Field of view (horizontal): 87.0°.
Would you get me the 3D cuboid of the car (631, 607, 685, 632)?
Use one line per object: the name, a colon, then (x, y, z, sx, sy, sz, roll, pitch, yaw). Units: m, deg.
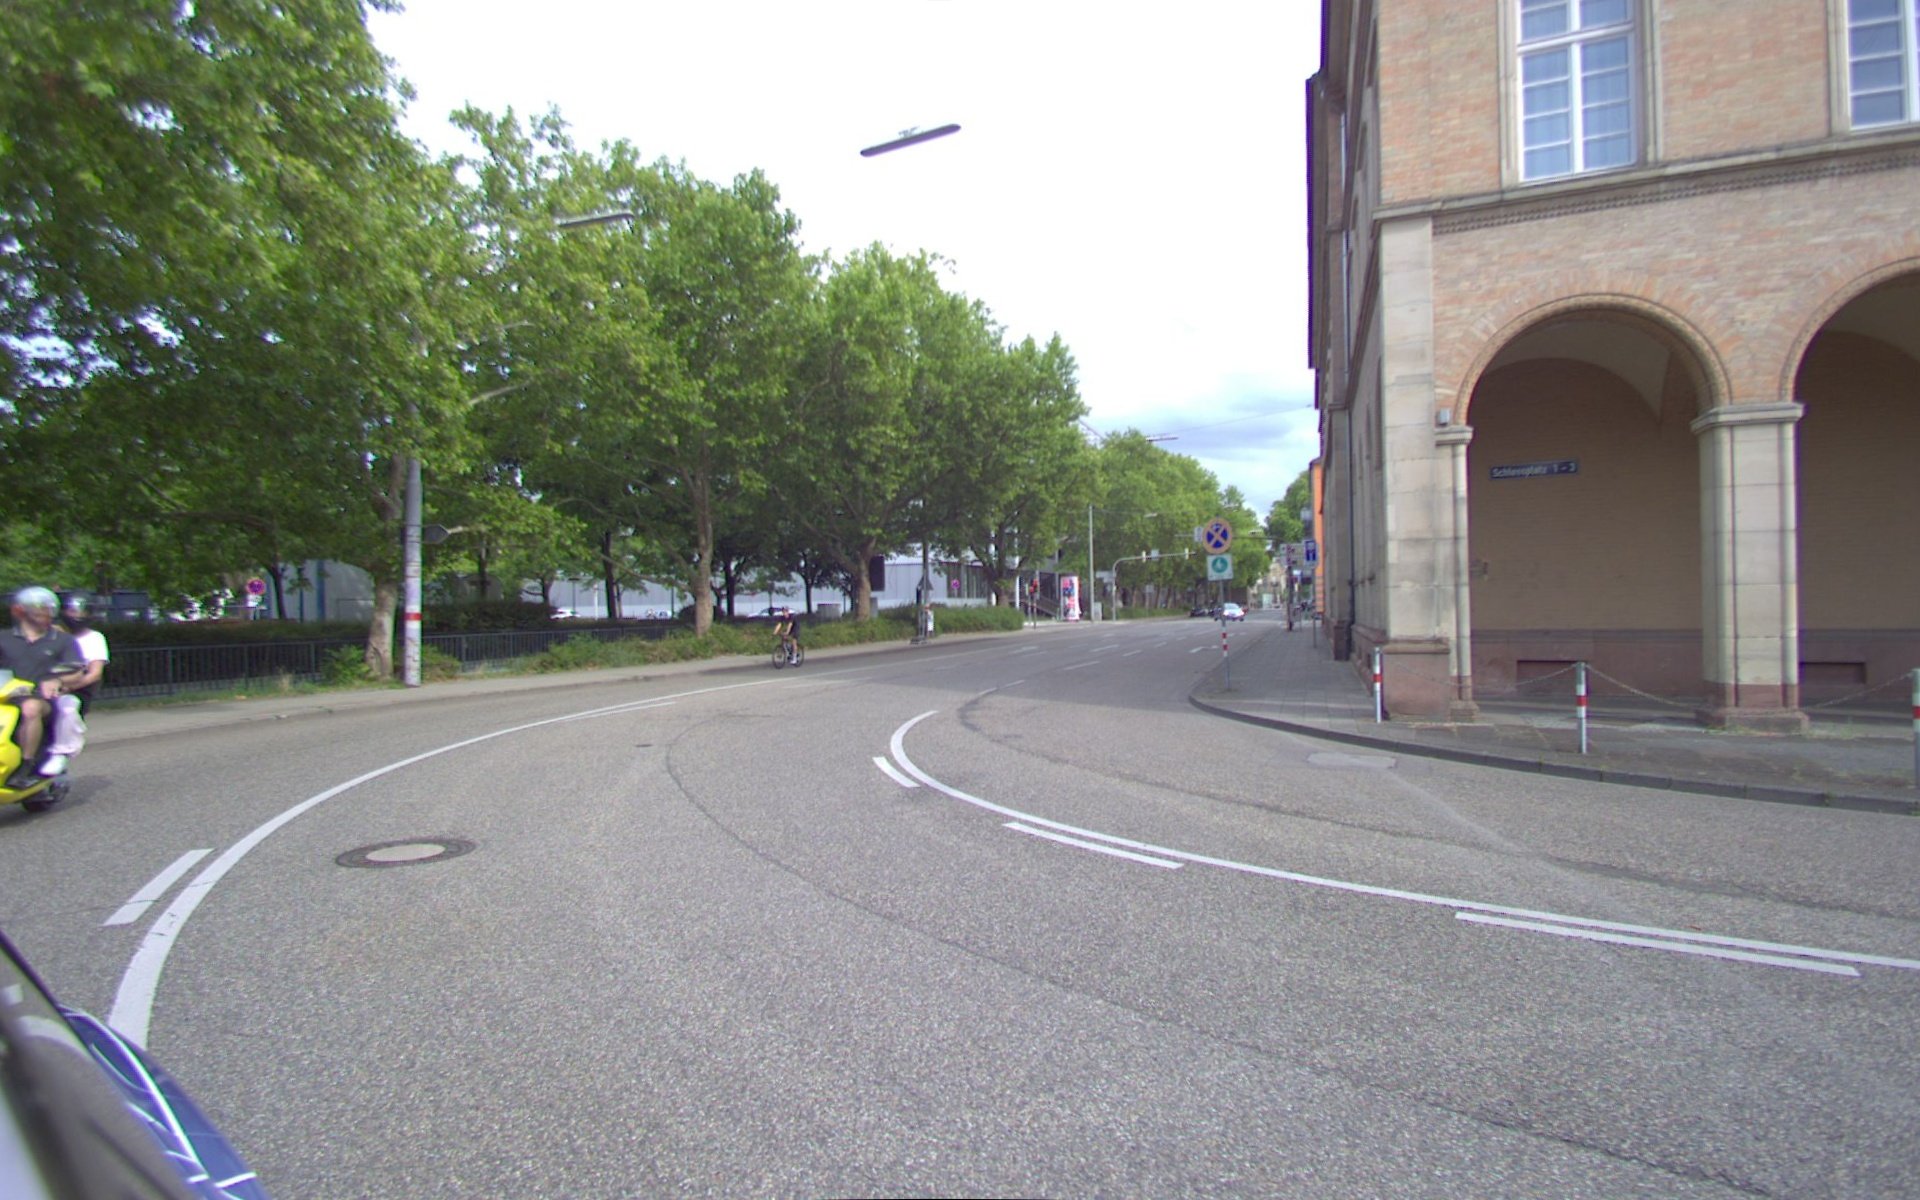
car: (-26.237, 1.702, 88.020, 3.957, 2.029, 1.993, -3, -2, 11)

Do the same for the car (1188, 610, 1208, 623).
car: (30.417, 2.062, 129.267, 1.986, 1.553, 4.241, -3, -2, 21)

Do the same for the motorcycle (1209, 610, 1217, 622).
motorcycle: (25.993, 1.695, 103.976, 0.775, 1.187, 1.982, -3, -2, 16)

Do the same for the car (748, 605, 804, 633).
car: (-14.926, 1.518, 82.048, 3.963, 2.029, 1.990, -3, -2, 15)

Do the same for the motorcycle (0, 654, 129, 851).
motorcycle: (-6.590, 0.987, 6.892, 0.768, 1.187, 1.999, 1, -2, -19)

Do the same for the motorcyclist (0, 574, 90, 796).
motorcyclist: (-6.581, 0.561, 6.873, 0.768, 1.438, 0.766, 1, -2, -19)

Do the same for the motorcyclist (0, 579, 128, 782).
motorcyclist: (-6.824, 0.577, 7.527, 0.768, 1.438, 0.691, 1, -2, -19)

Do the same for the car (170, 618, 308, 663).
car: (-31.770, 1.750, 44.780, 1.982, 1.808, 4.747, -3, -2, 16)

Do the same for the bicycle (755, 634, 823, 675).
bicycle: (-4.721, 1.494, 28.143, 0.766, 1.023, 2.391, -3, -2, 20)

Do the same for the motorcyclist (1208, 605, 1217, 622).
motorcyclist: (25.977, 1.371, 103.989, 0.775, 1.673, 1.107, -3, -2, 16)

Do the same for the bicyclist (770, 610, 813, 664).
bicyclist: (-4.700, 1.028, 28.262, 0.779, 1.458, 0.908, -3, -2, 20)

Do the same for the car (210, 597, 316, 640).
car: (-46.074, 1.238, 67.028, 2.422, 2.633, 5.466, -3, -2, 17)

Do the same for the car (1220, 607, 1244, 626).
car: (21.563, 1.291, 80.147, 1.661, 1.449, 3.796, -1, -1, 19)
